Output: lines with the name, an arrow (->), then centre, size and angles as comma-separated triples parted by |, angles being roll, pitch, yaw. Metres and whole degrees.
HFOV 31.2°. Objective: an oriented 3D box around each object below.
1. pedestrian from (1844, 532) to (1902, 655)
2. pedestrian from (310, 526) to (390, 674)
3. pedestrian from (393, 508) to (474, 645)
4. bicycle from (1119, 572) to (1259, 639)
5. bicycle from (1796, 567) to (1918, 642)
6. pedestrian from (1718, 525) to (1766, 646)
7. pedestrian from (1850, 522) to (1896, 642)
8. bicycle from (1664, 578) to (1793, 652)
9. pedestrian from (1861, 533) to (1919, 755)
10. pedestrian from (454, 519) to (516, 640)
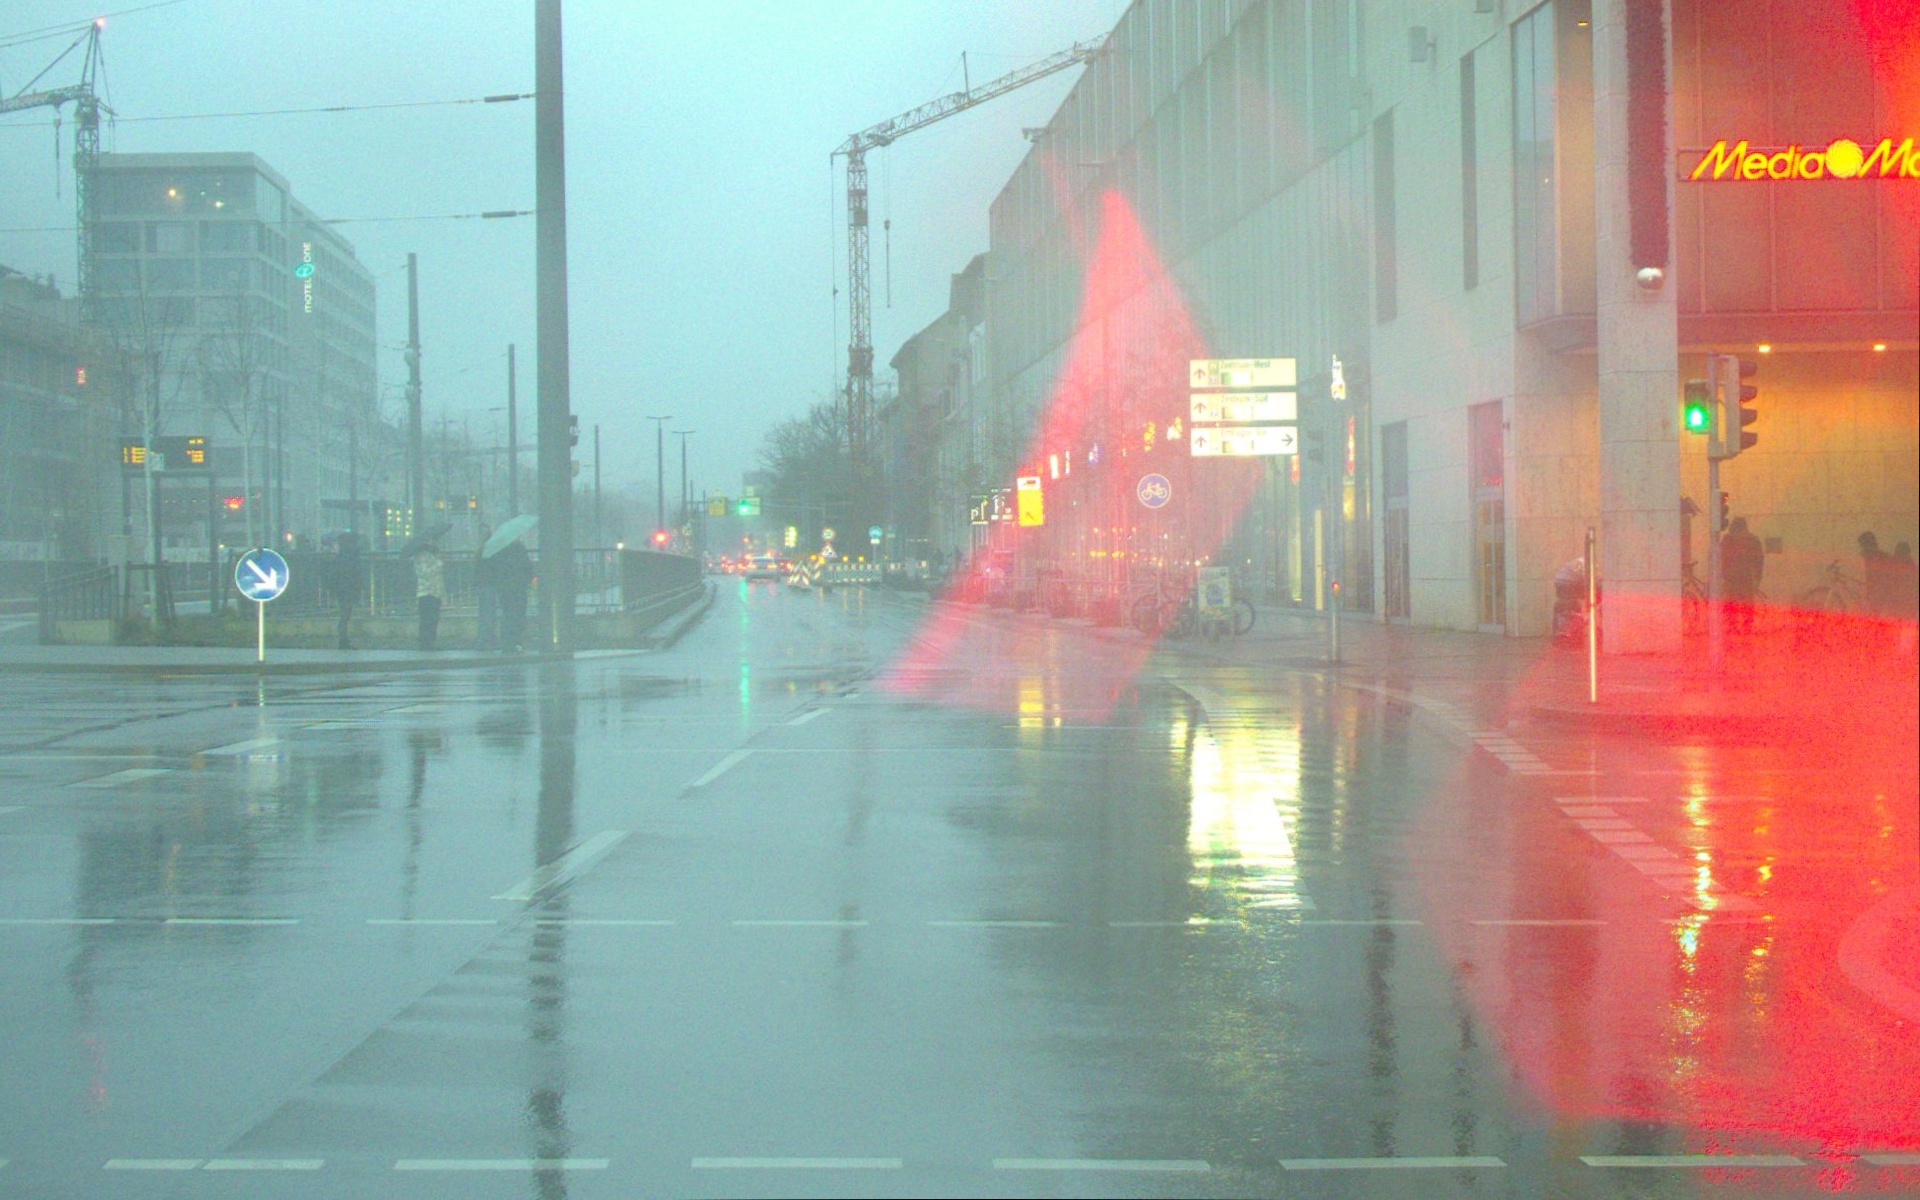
pedestrian -> 12.824, -0.091, 48.290 | 0.636, 1.703, 0.573 | -1, 0, -1
pedestrian -> -8.401, -0.004, 47.333 | 0.785, 2.007, 0.726 | 1, 1, 42
pedestrian -> -7.131, -0.318, 46.564 | 0.821, 1.825, 0.786 | 1, 0, -31
bicycle -> 4.103, 0.102, 61.625 | 2.442, 1.150, 0.674 | -1, 0, -1
bicycle -> 13.254, 0.064, 50.815 | 1.646, 1.066, 0.525 | 1, 0, -4
pedestrian -> 11.345, -0.205, 49.888 | 0.600, 1.739, 0.524 | 1, 0, 8
pedestrian -> 12.779, -0.252, 48.121 | 0.485, 1.657, 0.457 | -1, 0, 30
bicycle -> 11.326, 0.218, 50.669 | 1.767, 1.066, 0.525 | 1, 0, -5
pedestrian -> 10.482, 0.482, 38.159 | 0.714, 2.433, 0.758 | 1, 0, -1
pedestrian -> -6.627, -0.290, 47.957 | 0.612, 1.680, 0.577 | 1, 1, 42
